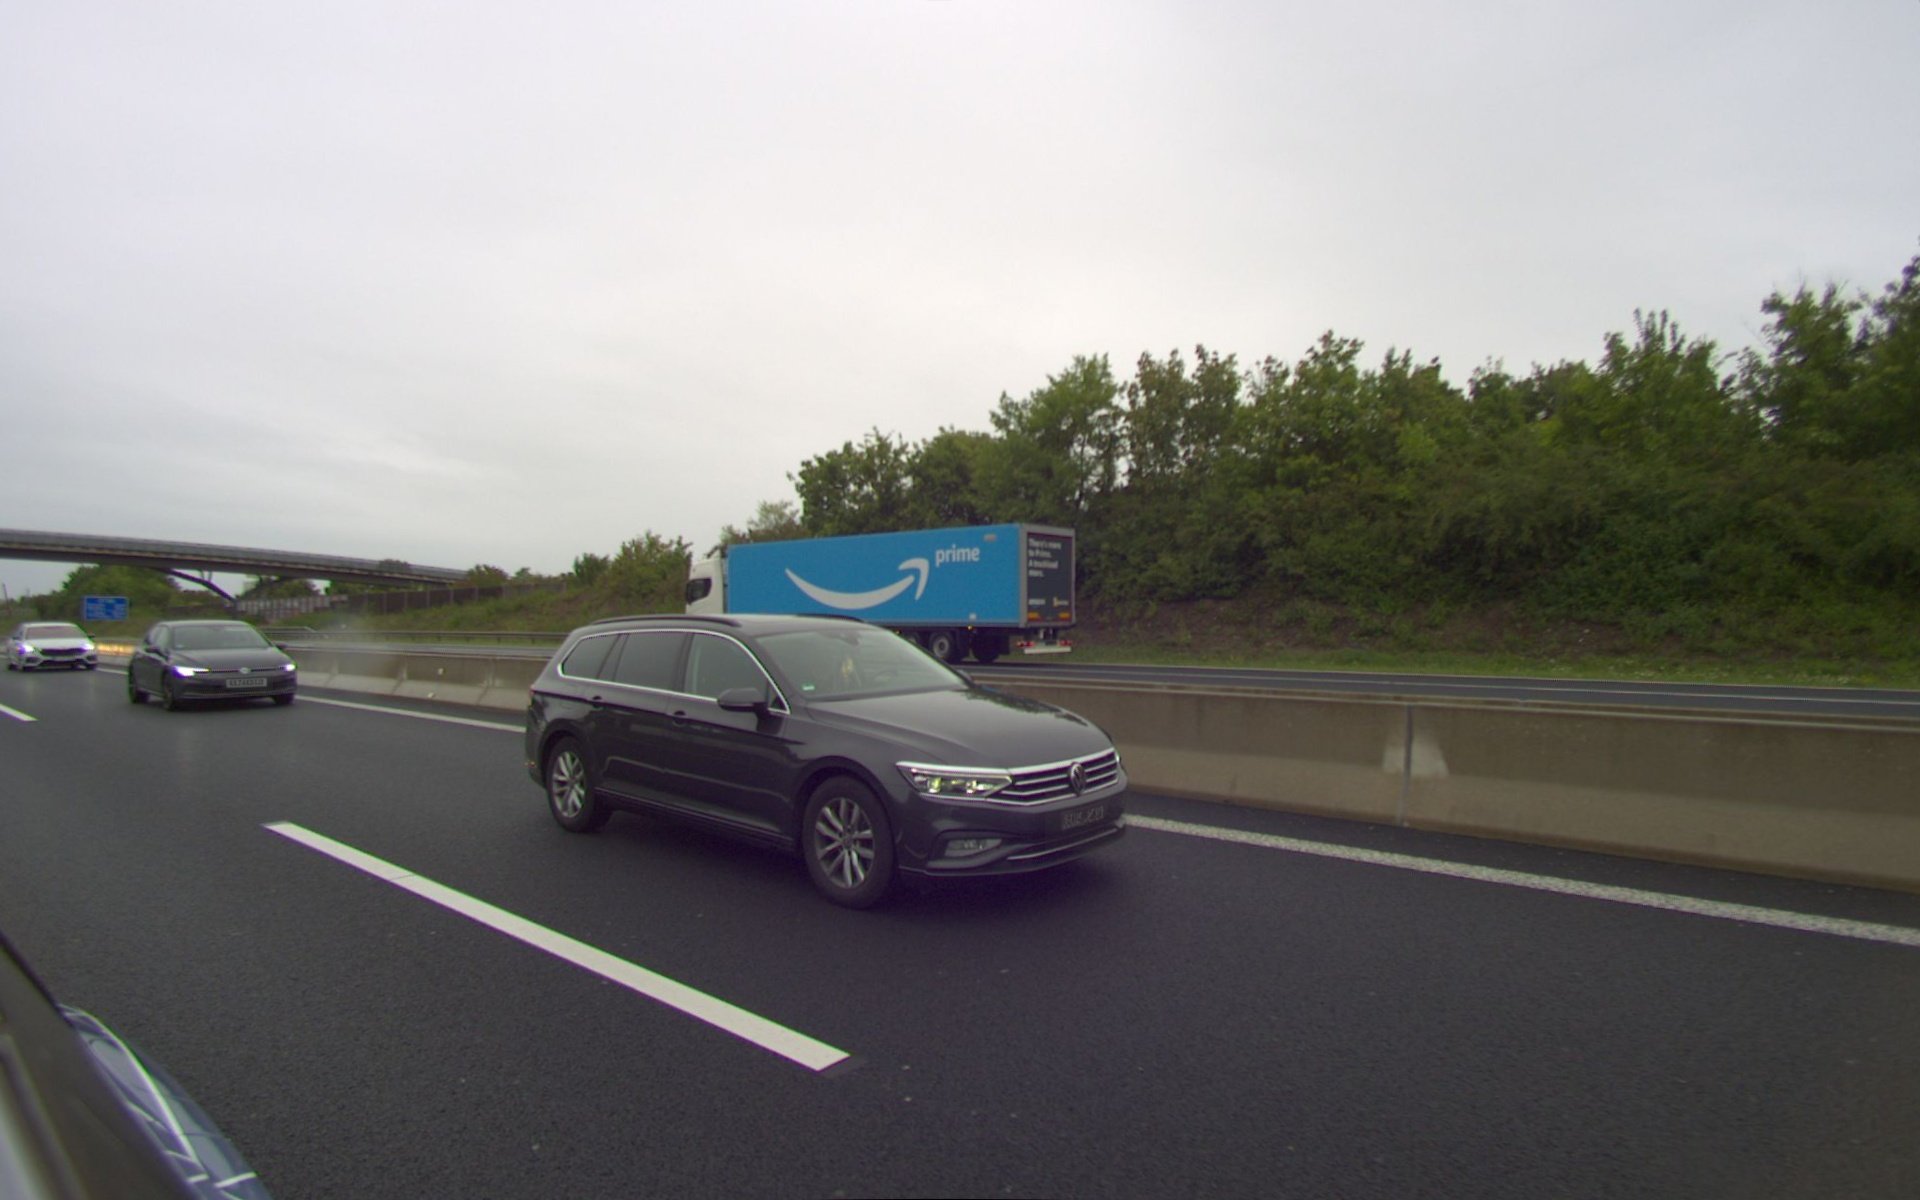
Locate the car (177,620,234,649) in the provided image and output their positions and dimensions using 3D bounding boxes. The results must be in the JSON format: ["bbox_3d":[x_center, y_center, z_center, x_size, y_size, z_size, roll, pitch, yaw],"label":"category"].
[{"bbox_3d":[-43.342,1.985,58.078,4.502,1.583,1.954,-2,-2,45],"label":"car"}]

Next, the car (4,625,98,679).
[{"bbox_3d":[-27.927,1.530,31.049,4.115,1.518,1.879,-1,-2,44],"label":"car"}]

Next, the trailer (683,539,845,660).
[{"bbox_3d":[-7.332,0.044,37.500,6.038,4.114,2.760,-1,-2,41],"label":"trailer"}]

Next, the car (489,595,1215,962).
[{"bbox_3d":[-1.024,0.785,6.504,4.850,1.508,1.880,-1,-1,42],"label":"car"}]

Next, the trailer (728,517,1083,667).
[{"bbox_3d":[-2.383,-0.076,33.194,13.518,4.114,2.760,-1,-2,41],"label":"trailer"}]

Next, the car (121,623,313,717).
[{"bbox_3d":[-13.043,1.116,17.658,4.458,1.416,1.880,-1,-1,42],"label":"car"}]
